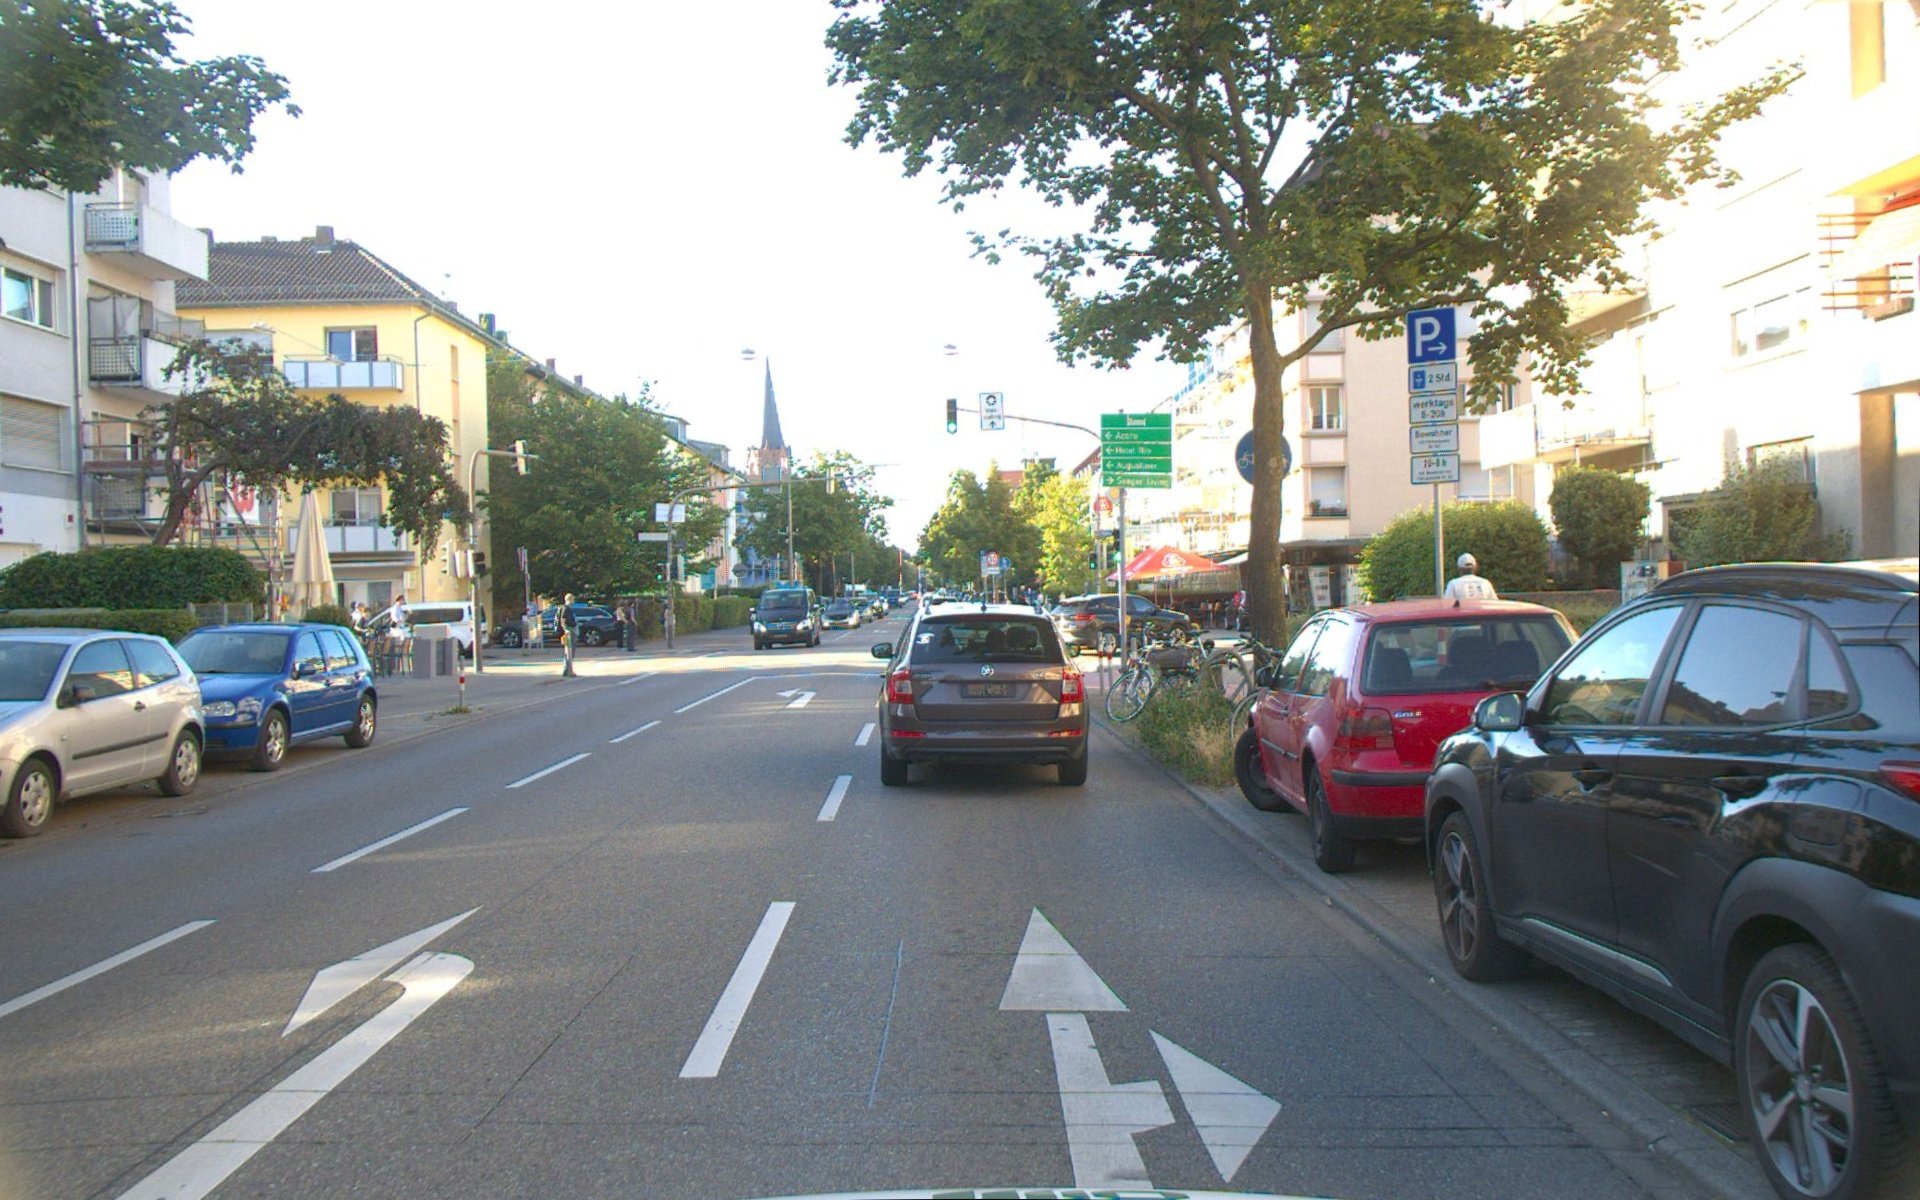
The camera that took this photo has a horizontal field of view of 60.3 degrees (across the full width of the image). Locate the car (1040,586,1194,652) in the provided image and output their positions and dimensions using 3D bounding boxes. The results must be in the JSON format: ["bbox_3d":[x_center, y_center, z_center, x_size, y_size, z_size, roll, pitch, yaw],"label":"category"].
[{"bbox_3d":[4.126,0.482,43.073,3.967,1.579,1.778,-2,0,-43],"label":"car"}]

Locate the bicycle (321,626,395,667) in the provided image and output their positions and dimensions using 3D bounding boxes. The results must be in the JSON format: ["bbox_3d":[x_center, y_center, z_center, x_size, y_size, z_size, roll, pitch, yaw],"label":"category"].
[{"bbox_3d":[-17.035,1.319,46.835,1.865,1.090,0.717,-1,-1,-11],"label":"bicycle"}]

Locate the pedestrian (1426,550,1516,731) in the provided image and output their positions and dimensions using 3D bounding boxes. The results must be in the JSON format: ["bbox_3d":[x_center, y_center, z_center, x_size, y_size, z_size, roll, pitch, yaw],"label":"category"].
[{"bbox_3d":[5.217,0.403,16.917,0.648,1.779,0.773,-3,0,5],"label":"pedestrian"}]

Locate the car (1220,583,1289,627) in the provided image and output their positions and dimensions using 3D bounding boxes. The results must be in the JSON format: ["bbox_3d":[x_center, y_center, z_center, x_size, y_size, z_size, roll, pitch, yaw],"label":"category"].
[{"bbox_3d":[10.622,0.182,59.807,1.739,1.512,4.000,-1,0,0],"label":"car"}]

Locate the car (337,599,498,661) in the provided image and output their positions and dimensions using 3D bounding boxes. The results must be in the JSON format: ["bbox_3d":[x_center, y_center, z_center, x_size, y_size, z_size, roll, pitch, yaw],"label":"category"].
[{"bbox_3d":[-17.430,0.946,53.275,4.540,1.843,1.861,-2,0,-2],"label":"car"}]

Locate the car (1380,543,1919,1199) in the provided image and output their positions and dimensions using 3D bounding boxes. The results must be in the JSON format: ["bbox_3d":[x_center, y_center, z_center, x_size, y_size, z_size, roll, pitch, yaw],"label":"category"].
[{"bbox_3d":[2.827,0.642,5.247,1.818,1.609,4.012,-3,0,-1],"label":"car"}]

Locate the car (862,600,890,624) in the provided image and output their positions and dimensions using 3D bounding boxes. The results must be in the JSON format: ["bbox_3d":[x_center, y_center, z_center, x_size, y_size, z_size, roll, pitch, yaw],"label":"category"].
[{"bbox_3d":[-5.730,0.788,113.362,1.751,1.598,4.000,1,0,0],"label":"car"}]

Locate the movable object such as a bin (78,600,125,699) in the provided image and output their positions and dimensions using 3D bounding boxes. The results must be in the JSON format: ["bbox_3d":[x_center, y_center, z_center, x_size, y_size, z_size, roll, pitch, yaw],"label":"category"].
[{"bbox_3d":[-12.788,0.725,24.637,0.384,1.452,0.575,-1,0,-3],"label":"movable object such as a bin"}]

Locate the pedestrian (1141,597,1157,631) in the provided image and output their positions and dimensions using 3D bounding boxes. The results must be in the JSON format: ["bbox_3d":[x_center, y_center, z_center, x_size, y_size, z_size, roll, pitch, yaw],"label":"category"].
[{"bbox_3d":[7.516,0.560,65.792,0.489,1.325,0.506,-1,0,-4],"label":"pedestrian"}]

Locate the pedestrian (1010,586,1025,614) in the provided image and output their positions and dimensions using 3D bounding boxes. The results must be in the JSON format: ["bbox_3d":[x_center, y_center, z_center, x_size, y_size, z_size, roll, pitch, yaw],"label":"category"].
[{"bbox_3d":[3.541,0.010,101.677,0.661,1.734,0.800,-2,0,25],"label":"pedestrian"}]

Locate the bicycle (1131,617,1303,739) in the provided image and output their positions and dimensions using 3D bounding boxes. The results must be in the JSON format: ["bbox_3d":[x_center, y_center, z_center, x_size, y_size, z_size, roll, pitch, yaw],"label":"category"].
[{"bbox_3d":[2.634,0.800,17.047,1.651,1.126,0.517,-4,0,5],"label":"bicycle"}]

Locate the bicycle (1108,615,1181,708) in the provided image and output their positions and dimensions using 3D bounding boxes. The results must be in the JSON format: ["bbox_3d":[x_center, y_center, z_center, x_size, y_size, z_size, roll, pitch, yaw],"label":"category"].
[{"bbox_3d":[2.477,0.807,22.384,0.492,1.167,1.956,-4,0,-7],"label":"bicycle"}]

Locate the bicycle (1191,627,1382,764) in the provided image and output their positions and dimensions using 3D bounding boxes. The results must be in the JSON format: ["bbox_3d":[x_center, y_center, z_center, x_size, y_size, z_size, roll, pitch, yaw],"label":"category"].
[{"bbox_3d":[2.818,0.821,14.368,1.538,1.123,0.501,-1,0,0],"label":"bicycle"}]

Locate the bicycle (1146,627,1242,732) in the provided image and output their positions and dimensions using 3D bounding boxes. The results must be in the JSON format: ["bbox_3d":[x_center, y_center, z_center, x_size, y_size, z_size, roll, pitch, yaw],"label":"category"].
[{"bbox_3d":[2.619,0.860,18.385,0.606,1.069,1.572,-1,0,25],"label":"bicycle"}]

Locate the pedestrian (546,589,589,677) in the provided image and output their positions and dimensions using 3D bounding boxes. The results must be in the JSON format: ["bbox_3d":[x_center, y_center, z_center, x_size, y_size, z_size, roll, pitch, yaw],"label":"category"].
[{"bbox_3d":[-9.169,0.766,38.690,0.764,2.022,0.821,-2,0,-1],"label":"pedestrian"}]

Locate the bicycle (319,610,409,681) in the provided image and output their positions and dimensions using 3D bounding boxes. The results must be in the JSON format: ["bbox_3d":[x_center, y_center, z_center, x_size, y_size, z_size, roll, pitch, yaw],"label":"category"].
[{"bbox_3d":[-15.303,1.163,42.503,1.982,1.736,0.756,-1,0,-4],"label":"bicycle"}]

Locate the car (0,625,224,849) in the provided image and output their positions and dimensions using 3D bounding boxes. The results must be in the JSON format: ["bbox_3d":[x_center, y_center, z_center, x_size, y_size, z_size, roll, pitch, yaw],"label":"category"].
[{"bbox_3d":[-7.529,0.990,13.277,1.561,1.496,3.803,1,0,-1],"label":"car"}]

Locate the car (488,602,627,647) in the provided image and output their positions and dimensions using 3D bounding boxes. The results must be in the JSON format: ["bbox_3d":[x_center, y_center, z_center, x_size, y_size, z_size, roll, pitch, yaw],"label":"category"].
[{"bbox_3d":[-14.397,0.857,59.337,4.540,1.562,1.861,0,0,-2],"label":"car"}]

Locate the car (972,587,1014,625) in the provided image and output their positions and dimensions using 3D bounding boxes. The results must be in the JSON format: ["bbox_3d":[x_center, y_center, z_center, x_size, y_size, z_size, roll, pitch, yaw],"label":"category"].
[{"bbox_3d":[1.636,0.291,79.972,1.952,1.803,4.001,1,0,2],"label":"car"}]

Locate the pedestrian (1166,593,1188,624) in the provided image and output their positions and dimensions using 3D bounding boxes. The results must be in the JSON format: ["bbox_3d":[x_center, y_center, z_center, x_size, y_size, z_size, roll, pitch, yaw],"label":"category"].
[{"bbox_3d":[8.513,0.325,64.935,0.714,1.219,0.855,-1,0,-1],"label":"pedestrian"}]

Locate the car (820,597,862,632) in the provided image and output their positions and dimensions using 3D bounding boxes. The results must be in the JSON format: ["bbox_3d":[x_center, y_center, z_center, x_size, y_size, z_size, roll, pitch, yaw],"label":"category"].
[{"bbox_3d":[-5.913,0.704,82.436,1.793,1.607,3.999,-2,0,-1],"label":"car"}]

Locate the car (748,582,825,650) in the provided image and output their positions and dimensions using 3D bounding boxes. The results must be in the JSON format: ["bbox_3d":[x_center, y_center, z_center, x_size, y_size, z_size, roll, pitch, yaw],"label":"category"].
[{"bbox_3d":[-5.466,0.499,52.655,1.953,1.942,4.962,-3,0,-1],"label":"car"}]

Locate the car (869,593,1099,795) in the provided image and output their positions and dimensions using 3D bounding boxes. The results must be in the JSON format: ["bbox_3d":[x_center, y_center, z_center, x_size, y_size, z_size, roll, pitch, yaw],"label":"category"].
[{"bbox_3d":[0.133,0.708,14.658,1.737,1.515,4.309,0,0,-2],"label":"car"}]

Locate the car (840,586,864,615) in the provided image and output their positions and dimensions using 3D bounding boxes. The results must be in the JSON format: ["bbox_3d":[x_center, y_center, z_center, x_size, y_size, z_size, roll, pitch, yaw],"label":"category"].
[{"bbox_3d":[-9.888,0.041,152.075,1.953,2.521,3.999,-1,0,-1],"label":"car"}]

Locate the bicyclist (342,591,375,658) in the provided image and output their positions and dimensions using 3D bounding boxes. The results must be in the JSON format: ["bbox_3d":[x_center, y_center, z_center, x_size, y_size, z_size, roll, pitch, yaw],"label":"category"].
[{"bbox_3d":[-17.040,0.697,46.860,0.725,1.855,0.652,-1,0,-10],"label":"bicyclist"}]

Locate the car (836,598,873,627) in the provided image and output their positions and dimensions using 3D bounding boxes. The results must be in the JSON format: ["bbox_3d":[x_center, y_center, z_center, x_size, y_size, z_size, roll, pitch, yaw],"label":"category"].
[{"bbox_3d":[-6.351,0.742,100.193,1.953,1.639,4.000,-1,0,0],"label":"car"}]

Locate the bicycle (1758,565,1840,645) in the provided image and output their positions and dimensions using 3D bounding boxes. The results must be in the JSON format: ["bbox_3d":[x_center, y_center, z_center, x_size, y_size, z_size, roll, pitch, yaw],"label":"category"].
[{"bbox_3d":[13.144,0.074,25.962,0.348,1.204,1.796,-1,0,0],"label":"bicycle"}]

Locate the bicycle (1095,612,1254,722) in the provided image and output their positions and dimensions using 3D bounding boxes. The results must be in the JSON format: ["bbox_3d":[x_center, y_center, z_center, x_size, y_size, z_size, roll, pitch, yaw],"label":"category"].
[{"bbox_3d":[2.578,0.802,20.006,1.796,1.177,0.683,-4,0,5],"label":"bicycle"}]

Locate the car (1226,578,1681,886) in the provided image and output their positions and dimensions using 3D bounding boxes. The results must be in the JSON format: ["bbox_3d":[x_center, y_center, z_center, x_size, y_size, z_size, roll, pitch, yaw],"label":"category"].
[{"bbox_3d":[2.824,0.668,10.390,1.668,1.475,4.014,-3,0,1],"label":"car"}]

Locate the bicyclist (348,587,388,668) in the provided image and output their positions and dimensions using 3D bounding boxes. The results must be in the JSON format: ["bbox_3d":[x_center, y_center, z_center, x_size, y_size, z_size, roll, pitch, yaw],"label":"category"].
[{"bbox_3d":[-15.242,0.703,42.592,0.711,2.049,0.843,-1,0,-4],"label":"bicyclist"}]

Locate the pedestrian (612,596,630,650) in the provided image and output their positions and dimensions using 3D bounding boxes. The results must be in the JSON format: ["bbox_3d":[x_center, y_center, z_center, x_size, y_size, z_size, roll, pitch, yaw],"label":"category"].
[{"bbox_3d":[-11.671,0.785,56.947,0.440,1.828,0.504,-2,0,-1],"label":"pedestrian"}]

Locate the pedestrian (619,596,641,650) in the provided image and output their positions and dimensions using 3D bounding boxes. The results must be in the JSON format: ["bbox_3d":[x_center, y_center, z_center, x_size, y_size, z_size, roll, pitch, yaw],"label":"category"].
[{"bbox_3d":[-11.247,0.789,56.402,0.603,1.828,0.504,-2,0,-1],"label":"pedestrian"}]

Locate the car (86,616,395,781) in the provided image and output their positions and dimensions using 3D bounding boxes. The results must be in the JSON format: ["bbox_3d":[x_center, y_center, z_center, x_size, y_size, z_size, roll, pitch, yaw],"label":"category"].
[{"bbox_3d":[-7.603,0.969,17.918,1.615,1.544,4.073,0,0,-1],"label":"car"}]

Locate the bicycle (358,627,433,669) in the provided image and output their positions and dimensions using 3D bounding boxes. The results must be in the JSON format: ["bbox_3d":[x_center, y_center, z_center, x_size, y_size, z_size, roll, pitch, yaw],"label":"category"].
[{"bbox_3d":[-15.685,1.331,46.005,1.865,1.090,0.717,-1,-1,-11],"label":"bicycle"}]

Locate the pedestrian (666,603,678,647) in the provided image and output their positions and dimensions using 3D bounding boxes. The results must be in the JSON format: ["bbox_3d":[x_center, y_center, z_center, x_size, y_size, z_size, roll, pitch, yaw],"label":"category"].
[{"bbox_3d":[-10.051,0.877,57.692,0.294,1.530,0.640,-1,0,0],"label":"pedestrian"}]

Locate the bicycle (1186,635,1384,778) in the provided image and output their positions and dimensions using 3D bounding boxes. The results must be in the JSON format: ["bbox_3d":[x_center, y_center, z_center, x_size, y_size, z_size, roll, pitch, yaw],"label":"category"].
[{"bbox_3d":[2.686,0.873,13.730,1.538,1.123,0.391,-1,0,0],"label":"bicycle"}]

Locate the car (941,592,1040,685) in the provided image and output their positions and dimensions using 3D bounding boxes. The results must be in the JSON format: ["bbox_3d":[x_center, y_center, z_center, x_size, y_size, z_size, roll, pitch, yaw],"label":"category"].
[{"bbox_3d":[0.526,0.673,30.840,1.701,1.598,4.000,1,0,0],"label":"car"}]

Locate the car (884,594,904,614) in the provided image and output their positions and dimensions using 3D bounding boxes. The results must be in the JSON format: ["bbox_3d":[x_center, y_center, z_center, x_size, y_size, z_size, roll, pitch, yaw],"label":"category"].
[{"bbox_3d":[-7.006,0.370,176.220,1.953,2.049,3.999,-2,0,-1],"label":"car"}]

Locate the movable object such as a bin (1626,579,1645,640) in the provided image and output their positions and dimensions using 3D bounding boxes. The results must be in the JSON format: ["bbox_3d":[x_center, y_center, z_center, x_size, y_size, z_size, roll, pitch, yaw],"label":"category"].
[{"bbox_3d":[12.891,0.183,31.553,0.195,1.147,0.316,-1,0,-2],"label":"movable object such as a bin"}]

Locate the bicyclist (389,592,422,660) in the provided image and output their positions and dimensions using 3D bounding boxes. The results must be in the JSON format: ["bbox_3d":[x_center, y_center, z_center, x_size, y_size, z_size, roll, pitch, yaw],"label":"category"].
[{"bbox_3d":[-15.437,0.711,46.055,0.725,1.855,0.652,-1,0,-10],"label":"bicyclist"}]
